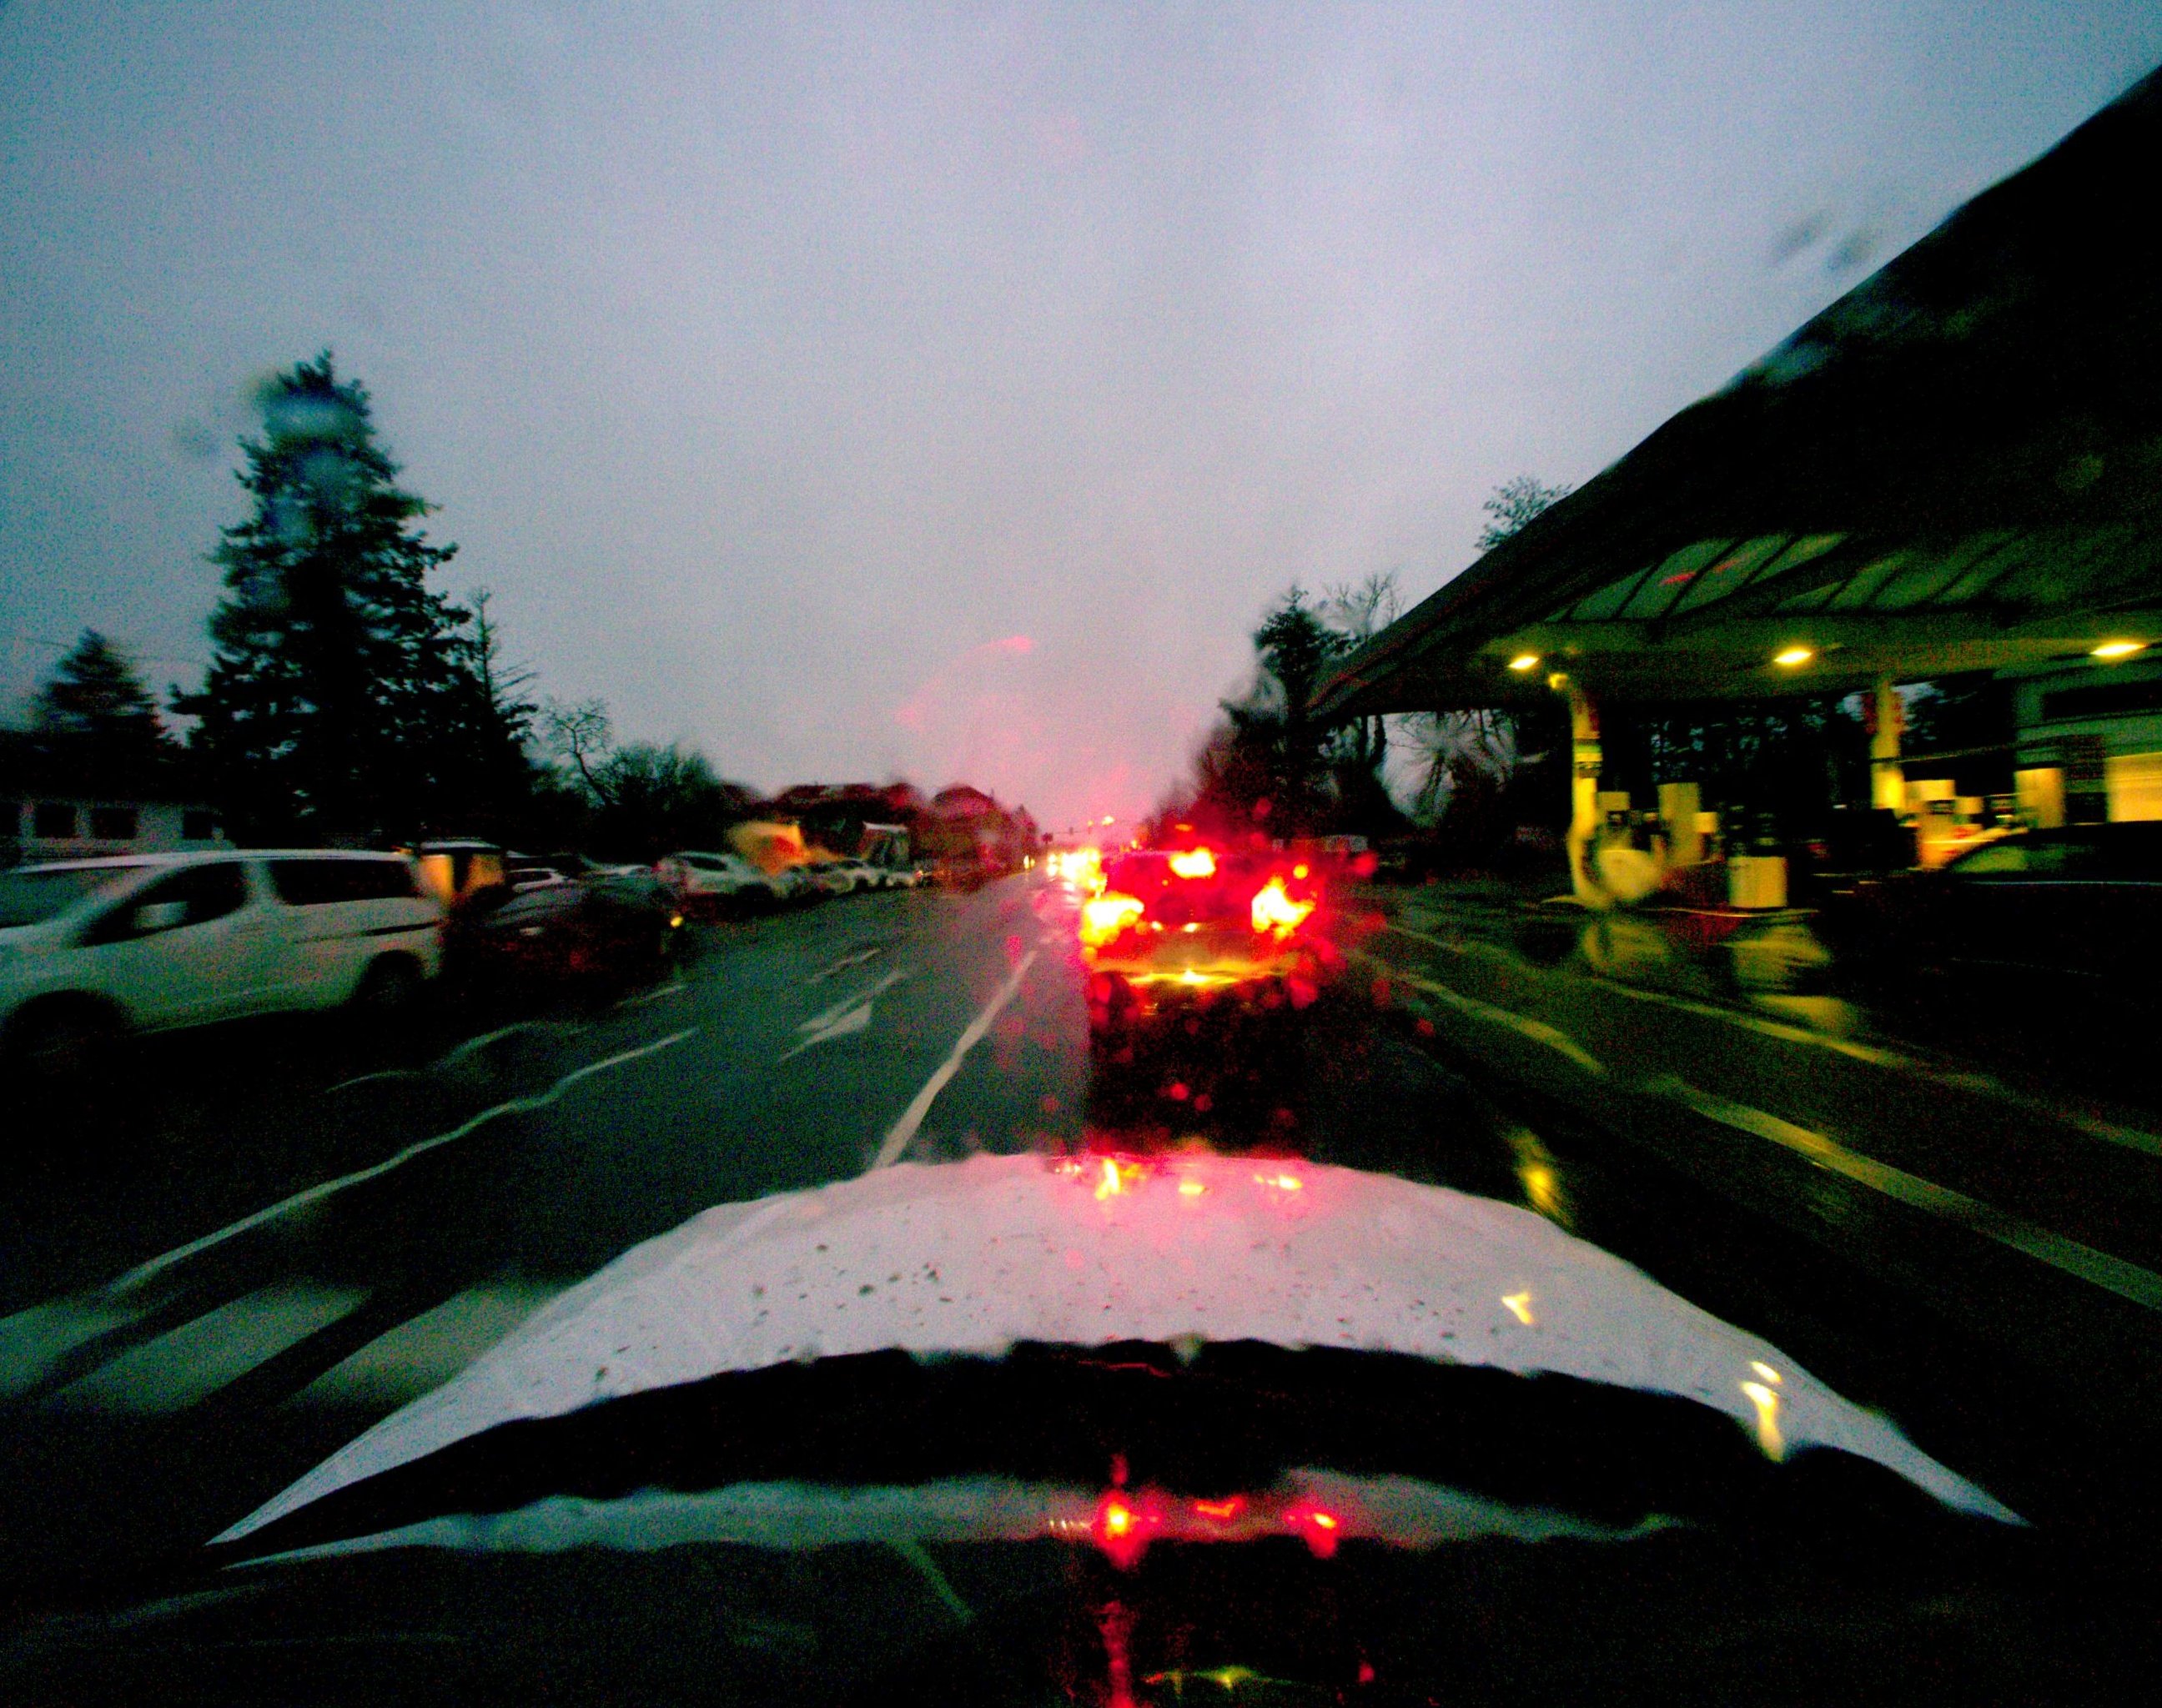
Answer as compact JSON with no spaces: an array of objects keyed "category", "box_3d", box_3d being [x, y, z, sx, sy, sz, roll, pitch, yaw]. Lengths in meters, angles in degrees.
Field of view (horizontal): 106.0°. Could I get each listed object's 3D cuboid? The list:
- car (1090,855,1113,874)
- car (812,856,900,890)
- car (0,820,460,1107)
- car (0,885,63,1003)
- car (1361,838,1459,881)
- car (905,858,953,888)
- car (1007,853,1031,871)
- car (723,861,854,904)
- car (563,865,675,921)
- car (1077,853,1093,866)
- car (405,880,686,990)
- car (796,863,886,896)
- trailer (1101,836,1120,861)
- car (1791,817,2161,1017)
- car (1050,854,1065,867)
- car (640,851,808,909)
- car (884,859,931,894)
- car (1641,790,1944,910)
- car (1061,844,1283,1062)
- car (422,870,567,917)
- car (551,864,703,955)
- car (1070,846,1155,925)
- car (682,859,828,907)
[{"category":"car","box_3d":[1.572,0.760,61.437,1.647,1.336,4.274,-2,0,2]},{"category":"car","box_3d":[-11.987,0.986,43.500,4.030,1.650,1.943,-2,0,3]},{"category":"car","box_3d":[-8.441,0.794,7.462,1.827,2.013,4.488,-2,0,3]},{"category":"car","box_3d":[-14.849,1.139,9.266,4.039,1.377,1.813,-2,0,-3]},{"category":"car","box_3d":[13.746,0.208,33.867,4.508,1.608,1.995,-2,0,-42]},{"category":"car","box_3d":[-8.166,0.992,44.005,1.675,1.421,3.744,-2,0,3]},{"category":"car","box_3d":[-6.639,0.856,87.821,1.963,1.830,4.514,-3,0,1]},{"category":"car","box_3d":[-11.248,1.085,31.493,4.319,1.498,1.826,-2,0,1]},{"category":"car","box_3d":[-15.643,1.271,27.807,1.664,1.676,3.705,-2,0,-1]},{"category":"car","box_3d":[0.485,0.756,113.249,2.041,1.573,4.700,-3,0,-1]},{"category":"car","box_3d":[-8.052,1.132,12.802,1.565,1.321,4.254,-4,-2,-1]},{"category":"car","box_3d":[-11.334,1.173,38.632,3.761,1.459,1.775,-1,0,-2]},{"category":"trailer","box_3d":[4.067,-0.713,114.652,2.479,3.241,10.869,-1,0,1]},{"category":"car","box_3d":[8.528,0.425,6.797,1.567,1.396,4.169,-3,0,1]},{"category":"car","box_3d":[-2.860,0.802,100.097,1.598,1.534,4.000,-4,0,1]},{"category":"car","box_3d":[-11.499,0.799,26.527,4.524,1.676,2.008,-2,0,-3]},{"category":"car","box_3d":[-8.445,1.056,39.850,1.512,1.543,3.016,-3,0,1]},{"category":"car","box_3d":[13.131,-0.062,15.489,1.986,1.859,4.299,-3,0,1]},{"category":"car","box_3d":[0.719,0.711,7.860,1.559,1.529,4.008,-1,0,2]},{"category":"car","box_3d":[-19.950,1.310,27.837,1.653,1.384,3.646,-2,0,34]},{"category":"car","box_3d":[-9.420,1.097,17.118,1.165,1.644,2.878,-3,0,10]},{"category":"car","box_3d":[0.730,0.647,18.996,1.701,1.575,4.466,-2,0,2]},{"category":"car","box_3d":[-11.550,1.003,29.014,4.317,1.498,1.997,-2,0,3]}]
